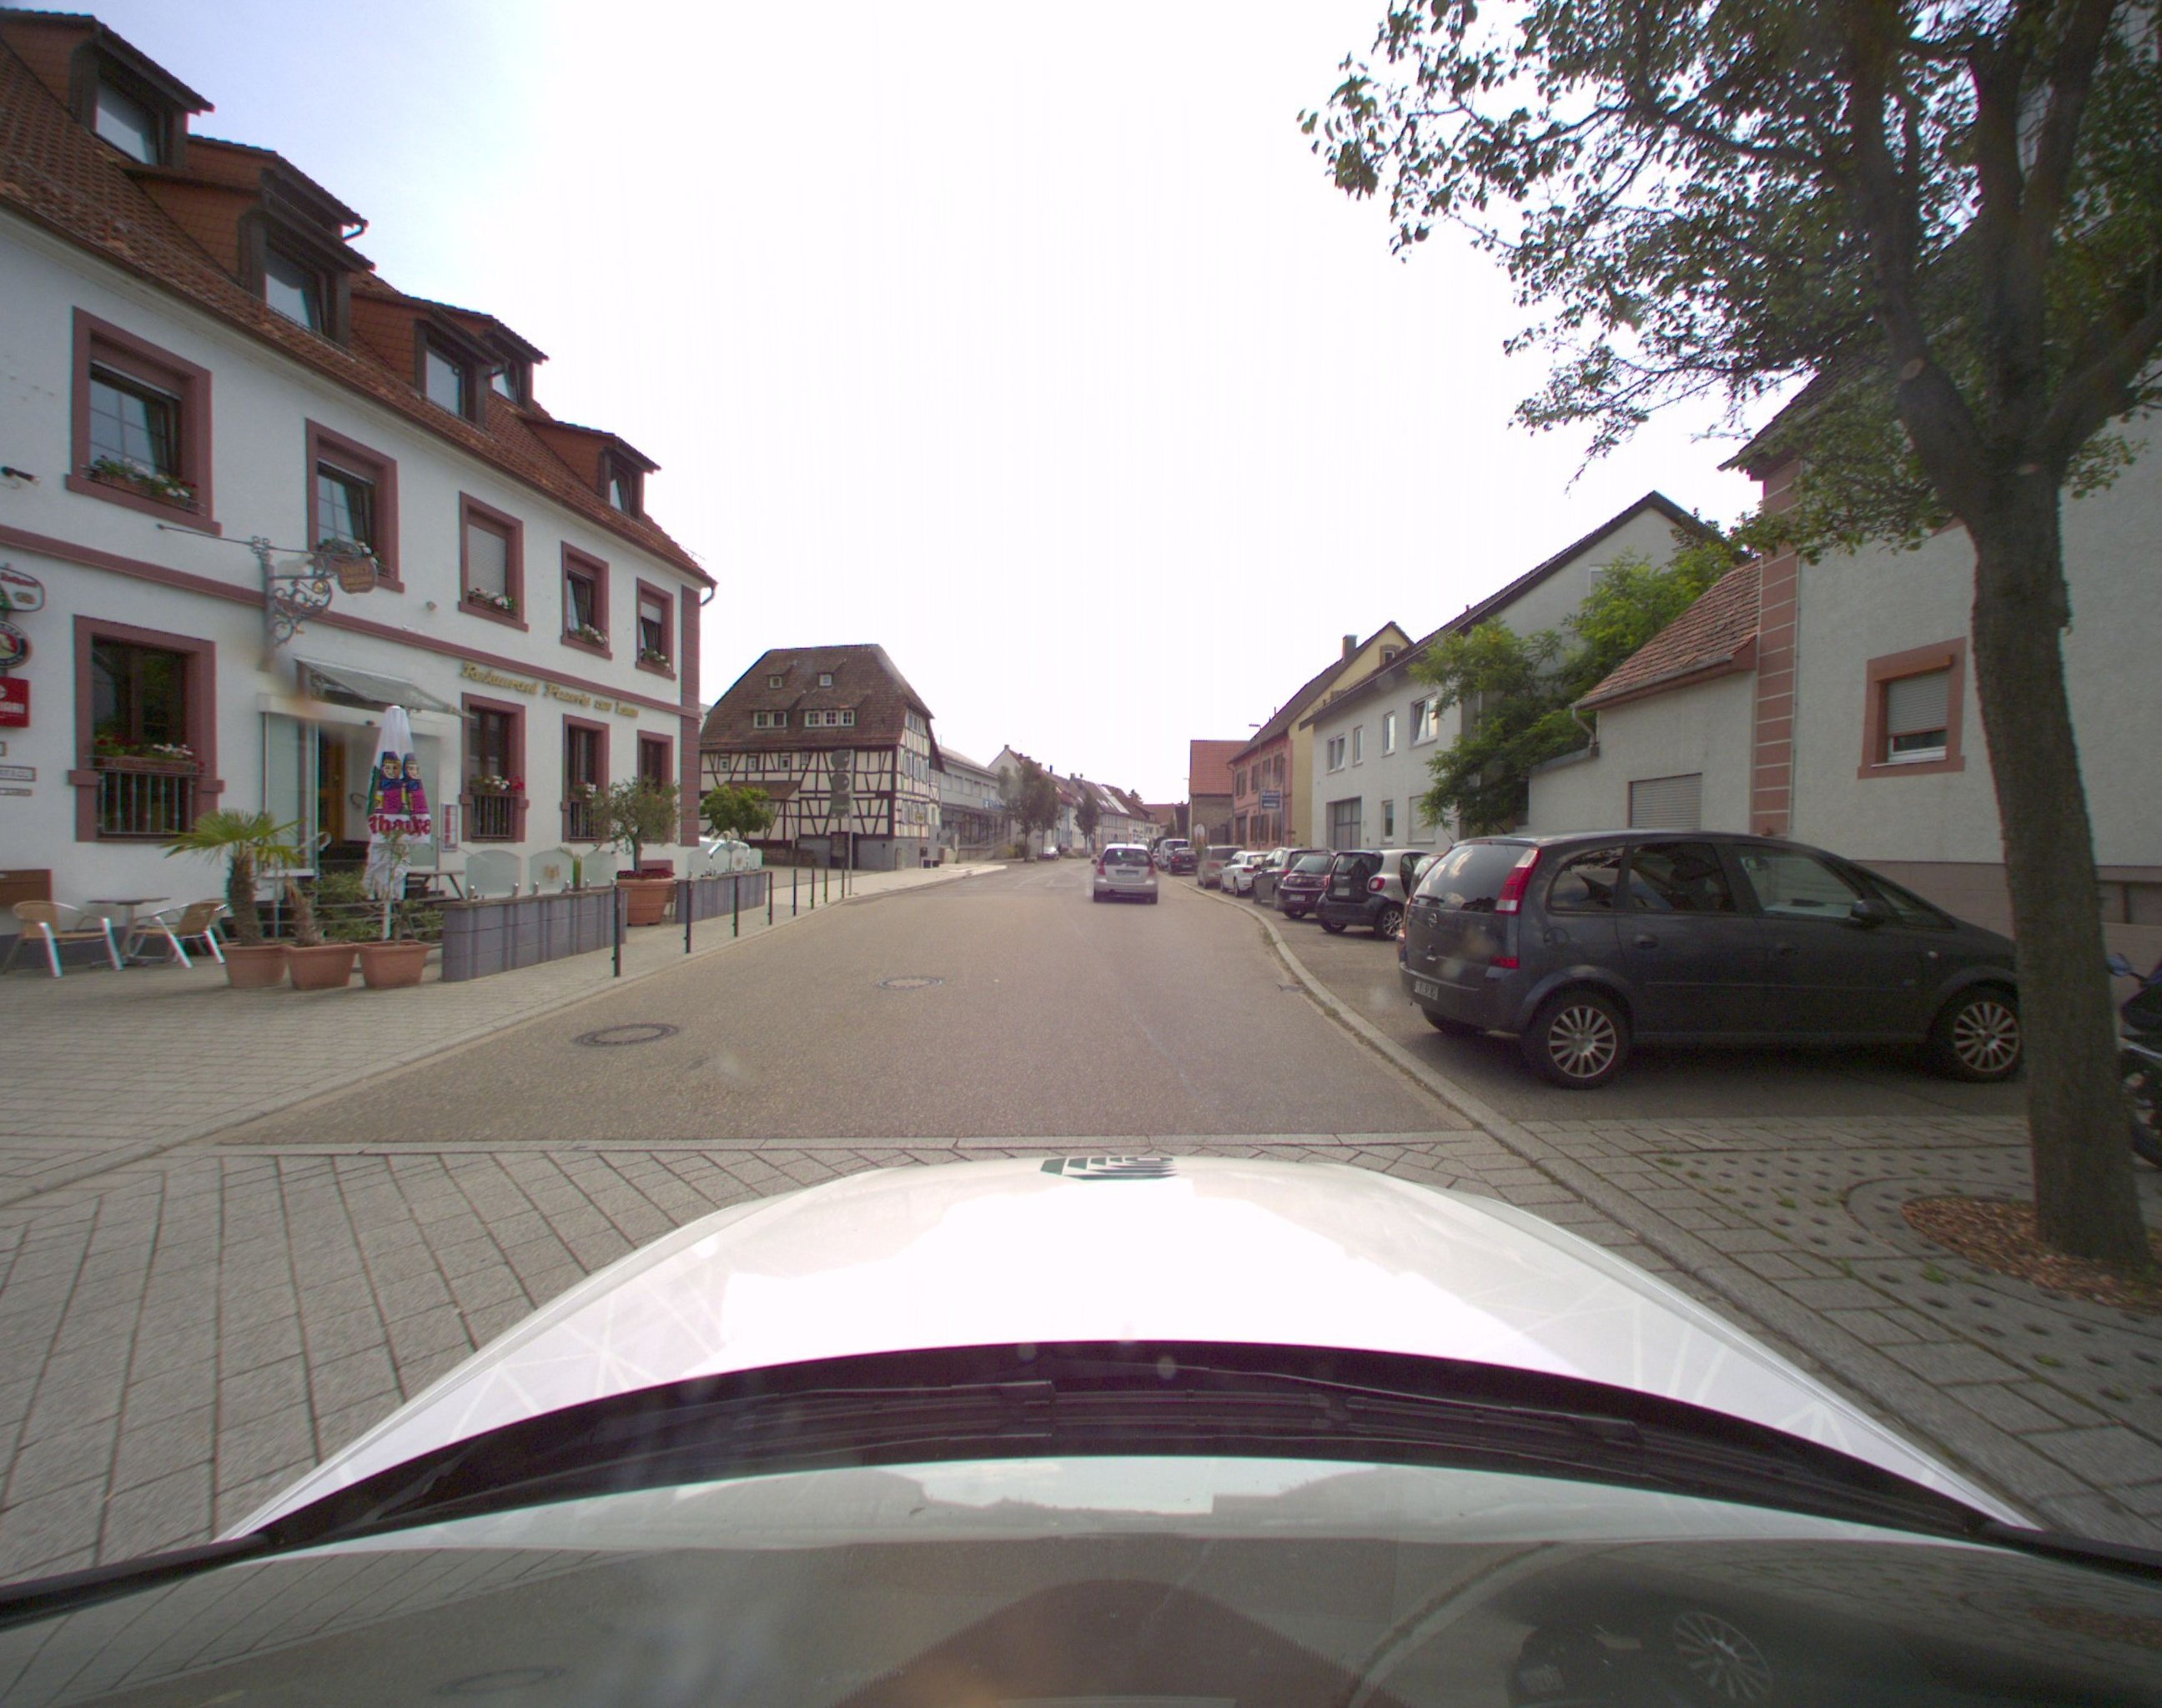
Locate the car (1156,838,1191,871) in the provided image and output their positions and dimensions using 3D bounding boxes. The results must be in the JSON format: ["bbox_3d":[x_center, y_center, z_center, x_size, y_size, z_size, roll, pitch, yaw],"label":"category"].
[{"bbox_3d":[5.978,-0.013,53.183,1.884,1.982,4.934,-2,0,3],"label":"car"}]

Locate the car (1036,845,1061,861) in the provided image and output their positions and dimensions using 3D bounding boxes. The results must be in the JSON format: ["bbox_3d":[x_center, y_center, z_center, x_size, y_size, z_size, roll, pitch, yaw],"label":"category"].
[{"bbox_3d":[-3.166,-0.120,81.034,1.795,1.460,4.167,1,1,7],"label":"car"}]

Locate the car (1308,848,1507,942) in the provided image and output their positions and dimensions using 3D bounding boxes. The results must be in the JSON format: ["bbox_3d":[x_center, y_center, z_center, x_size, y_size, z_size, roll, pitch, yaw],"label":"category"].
[{"bbox_3d":[5.766,0.652,14.498,2.789,1.504,1.865,0,1,-21],"label":"car"}]

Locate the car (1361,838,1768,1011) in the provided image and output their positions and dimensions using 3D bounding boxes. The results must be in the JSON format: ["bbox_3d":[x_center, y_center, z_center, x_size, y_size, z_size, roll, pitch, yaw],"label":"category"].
[{"bbox_3d":[4.932,0.648,8.545,3.376,1.577,1.721,1,0,-10],"label":"car"}]

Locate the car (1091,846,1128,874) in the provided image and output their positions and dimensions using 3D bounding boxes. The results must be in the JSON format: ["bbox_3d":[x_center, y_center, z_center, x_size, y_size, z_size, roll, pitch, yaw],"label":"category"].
[{"bbox_3d":[1.610,0.301,45.499,1.937,1.407,4.002,1,1,2],"label":"car"}]

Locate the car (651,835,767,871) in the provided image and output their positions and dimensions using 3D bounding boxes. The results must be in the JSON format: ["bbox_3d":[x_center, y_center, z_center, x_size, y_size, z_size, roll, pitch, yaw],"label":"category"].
[{"bbox_3d":[-17.224,-0.074,37.806,4.404,1.388,1.968,3,1,6],"label":"car"}]

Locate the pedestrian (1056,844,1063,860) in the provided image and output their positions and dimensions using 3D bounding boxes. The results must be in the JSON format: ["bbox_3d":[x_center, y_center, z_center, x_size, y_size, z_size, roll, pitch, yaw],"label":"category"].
[{"bbox_3d":[-2.454,-0.246,94.275,0.736,1.801,0.643,0,-1,4],"label":"pedestrian"}]

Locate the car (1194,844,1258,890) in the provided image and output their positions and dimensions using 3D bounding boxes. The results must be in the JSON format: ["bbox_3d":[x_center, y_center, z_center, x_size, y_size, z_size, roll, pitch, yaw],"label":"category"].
[{"bbox_3d":[5.631,0.446,32.118,1.985,1.680,4.326,0,0,3],"label":"car"}]

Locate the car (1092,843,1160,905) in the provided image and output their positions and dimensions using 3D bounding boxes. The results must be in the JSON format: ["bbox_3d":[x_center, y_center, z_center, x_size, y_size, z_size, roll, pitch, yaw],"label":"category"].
[{"bbox_3d":[1.239,0.508,23.382,1.762,1.594,4.002,1,0,2],"label":"car"}]

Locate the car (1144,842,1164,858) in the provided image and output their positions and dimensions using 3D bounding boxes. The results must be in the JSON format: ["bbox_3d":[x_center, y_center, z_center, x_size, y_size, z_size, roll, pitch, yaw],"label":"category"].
[{"bbox_3d":[7.791,-0.438,87.240,1.986,1.559,4.002,-1,1,2],"label":"car"}]

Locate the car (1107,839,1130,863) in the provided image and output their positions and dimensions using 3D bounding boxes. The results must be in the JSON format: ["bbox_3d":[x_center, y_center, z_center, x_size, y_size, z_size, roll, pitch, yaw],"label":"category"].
[{"bbox_3d":[3.251,-0.208,69.199,1.761,1.887,4.451,3,0,4],"label":"car"}]

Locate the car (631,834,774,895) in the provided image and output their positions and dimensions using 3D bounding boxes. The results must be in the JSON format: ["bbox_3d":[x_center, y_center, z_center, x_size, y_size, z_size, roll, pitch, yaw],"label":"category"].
[{"bbox_3d":[-10.776,0.261,23.601,1.750,1.492,4.282,4,1,5],"label":"car"}]

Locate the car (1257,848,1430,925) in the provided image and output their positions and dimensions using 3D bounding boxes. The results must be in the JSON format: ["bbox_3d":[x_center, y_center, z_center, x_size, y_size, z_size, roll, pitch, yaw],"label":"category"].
[{"bbox_3d":[5.674,0.632,17.601,3.243,1.504,1.811,0,1,-27],"label":"car"}]

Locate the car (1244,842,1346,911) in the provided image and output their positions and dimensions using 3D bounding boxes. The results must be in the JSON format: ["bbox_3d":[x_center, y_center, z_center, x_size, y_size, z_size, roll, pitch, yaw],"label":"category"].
[{"bbox_3d":[5.515,0.516,21.456,1.656,1.624,4.273,0,1,1],"label":"car"}]

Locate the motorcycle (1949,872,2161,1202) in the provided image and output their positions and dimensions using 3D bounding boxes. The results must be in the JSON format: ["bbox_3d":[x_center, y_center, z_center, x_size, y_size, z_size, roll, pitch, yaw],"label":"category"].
[{"bbox_3d":[4.660,0.740,2.939,0.627,1.298,2.180,-1,0,-4],"label":"motorcycle"}]

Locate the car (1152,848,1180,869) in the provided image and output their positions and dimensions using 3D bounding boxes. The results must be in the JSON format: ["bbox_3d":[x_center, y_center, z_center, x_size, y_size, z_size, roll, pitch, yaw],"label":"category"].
[{"bbox_3d":[6.485,0.324,62.828,1.868,1.481,4.678,1,1,3],"label":"car"}]

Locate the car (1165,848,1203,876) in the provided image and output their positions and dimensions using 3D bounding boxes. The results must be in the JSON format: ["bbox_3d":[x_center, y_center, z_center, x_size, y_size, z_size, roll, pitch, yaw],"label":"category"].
[{"bbox_3d":[5.712,0.418,45.390,1.767,1.495,4.165,0,0,3],"label":"car"}]

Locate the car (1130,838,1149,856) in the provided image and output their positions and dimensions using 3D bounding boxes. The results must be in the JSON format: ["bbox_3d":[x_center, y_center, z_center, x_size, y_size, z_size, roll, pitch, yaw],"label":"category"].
[{"bbox_3d":[7.560,-0.863,104.638,2.224,2.222,4.008,0,0,7],"label":"car"}]

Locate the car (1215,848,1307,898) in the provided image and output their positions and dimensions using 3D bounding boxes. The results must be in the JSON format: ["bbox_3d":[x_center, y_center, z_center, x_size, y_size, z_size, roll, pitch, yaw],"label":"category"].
[{"bbox_3d":[5.796,0.559,26.780,1.988,1.517,4.369,0,0,-1],"label":"car"}]

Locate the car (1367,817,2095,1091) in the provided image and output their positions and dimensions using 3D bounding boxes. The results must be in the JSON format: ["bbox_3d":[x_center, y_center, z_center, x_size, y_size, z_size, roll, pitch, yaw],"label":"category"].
[{"bbox_3d":[4.320,0.595,5.897,3.837,1.577,1.850,-1,0,-2],"label":"car"}]

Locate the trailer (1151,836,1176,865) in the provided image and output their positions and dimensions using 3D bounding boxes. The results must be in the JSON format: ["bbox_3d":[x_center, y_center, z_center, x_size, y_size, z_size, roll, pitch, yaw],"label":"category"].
[{"bbox_3d":[6.854,-0.312,68.028,1.838,2.354,3.591,0,1,2],"label":"trailer"}]
